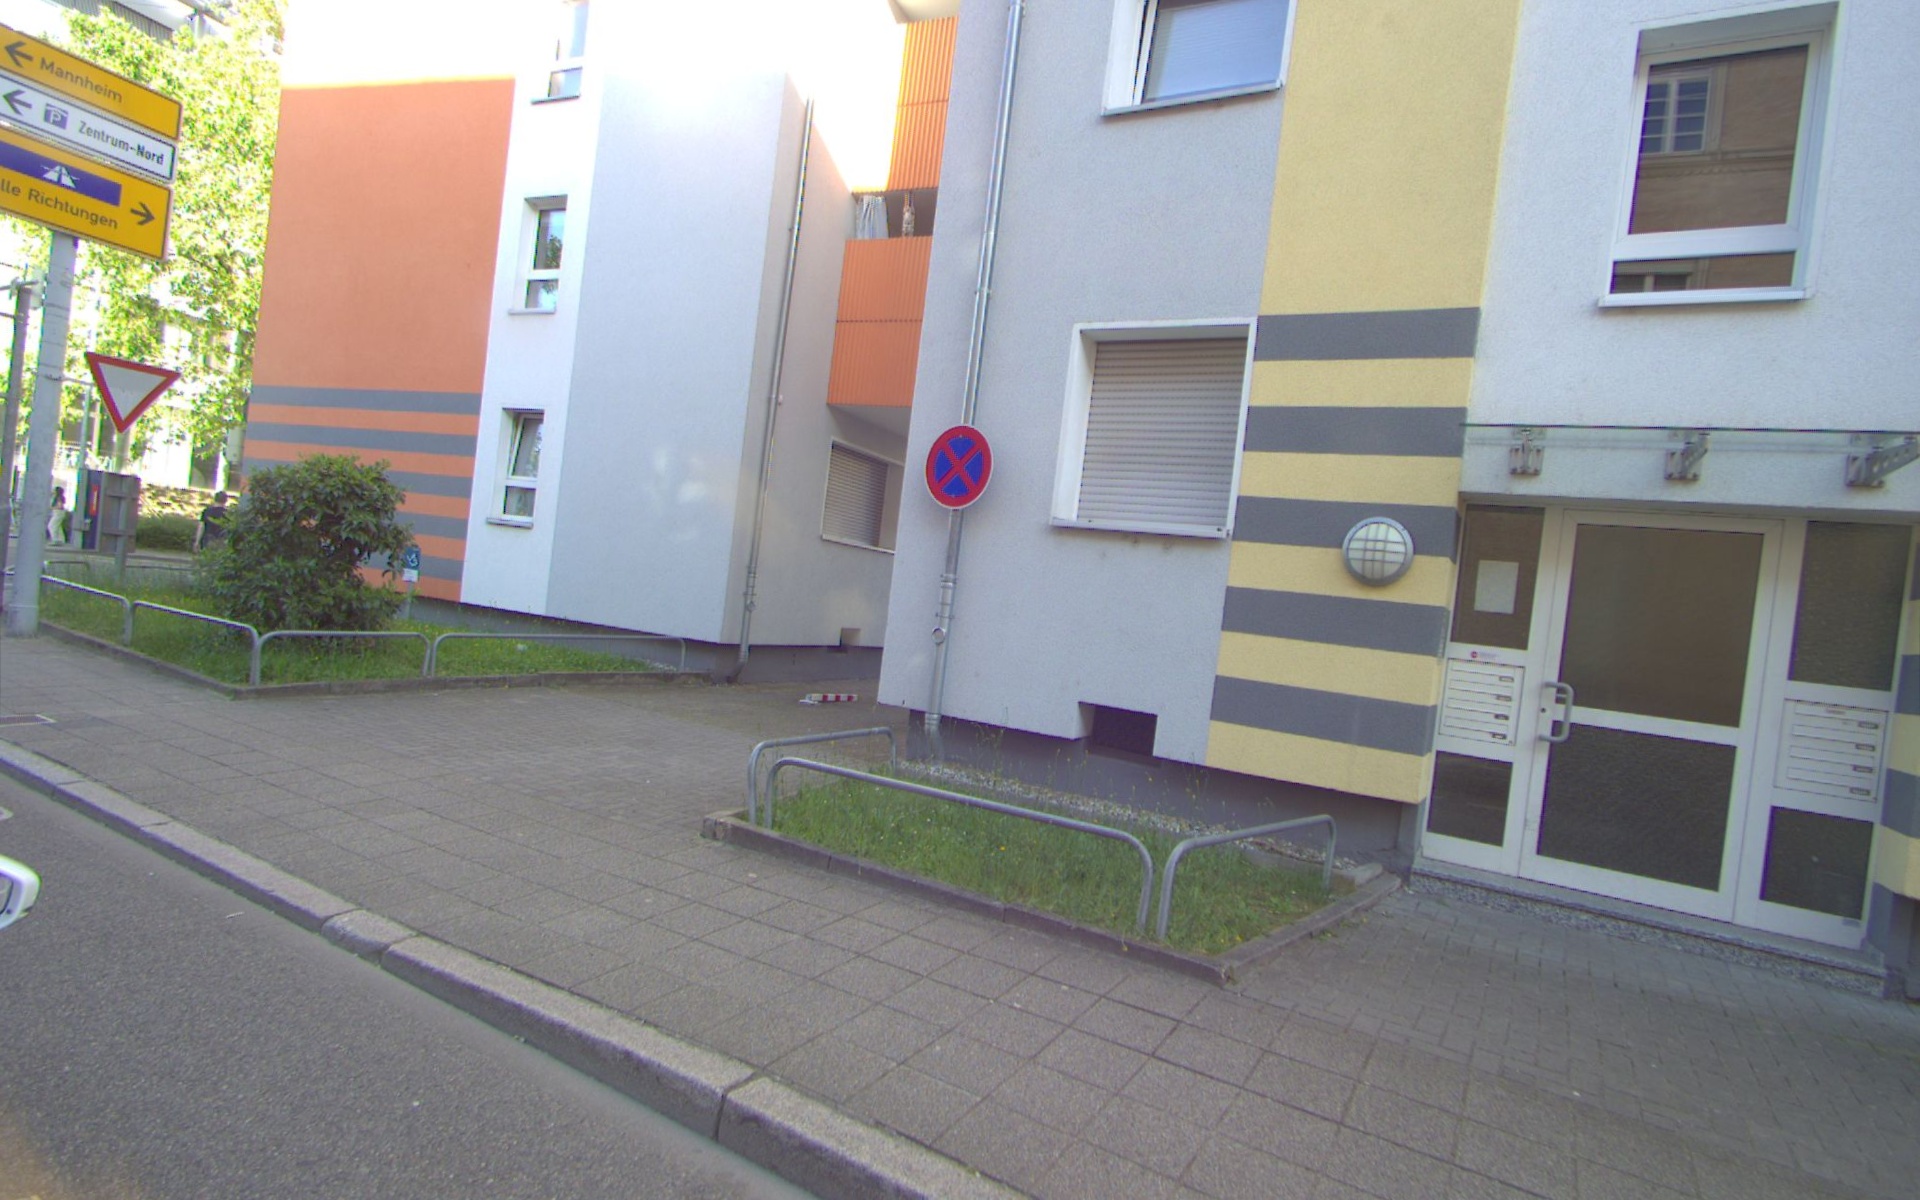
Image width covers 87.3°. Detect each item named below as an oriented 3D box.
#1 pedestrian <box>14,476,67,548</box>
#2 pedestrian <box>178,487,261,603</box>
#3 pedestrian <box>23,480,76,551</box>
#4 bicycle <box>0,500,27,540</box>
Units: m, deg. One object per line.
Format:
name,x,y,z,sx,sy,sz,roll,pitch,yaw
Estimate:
pedestrian,-24.814,-2.369,27.161,0.637,1.816,0.766,6,-1,34
pedestrian,-12.555,-0.906,17.076,0.690,1.831,0.719,7,-1,-9
pedestrian,-24.227,-2.248,26.779,0.637,1.739,0.766,6,-1,34
bicycle,-26.407,-2.240,27.398,1.409,1.021,0.379,7,1,-11
